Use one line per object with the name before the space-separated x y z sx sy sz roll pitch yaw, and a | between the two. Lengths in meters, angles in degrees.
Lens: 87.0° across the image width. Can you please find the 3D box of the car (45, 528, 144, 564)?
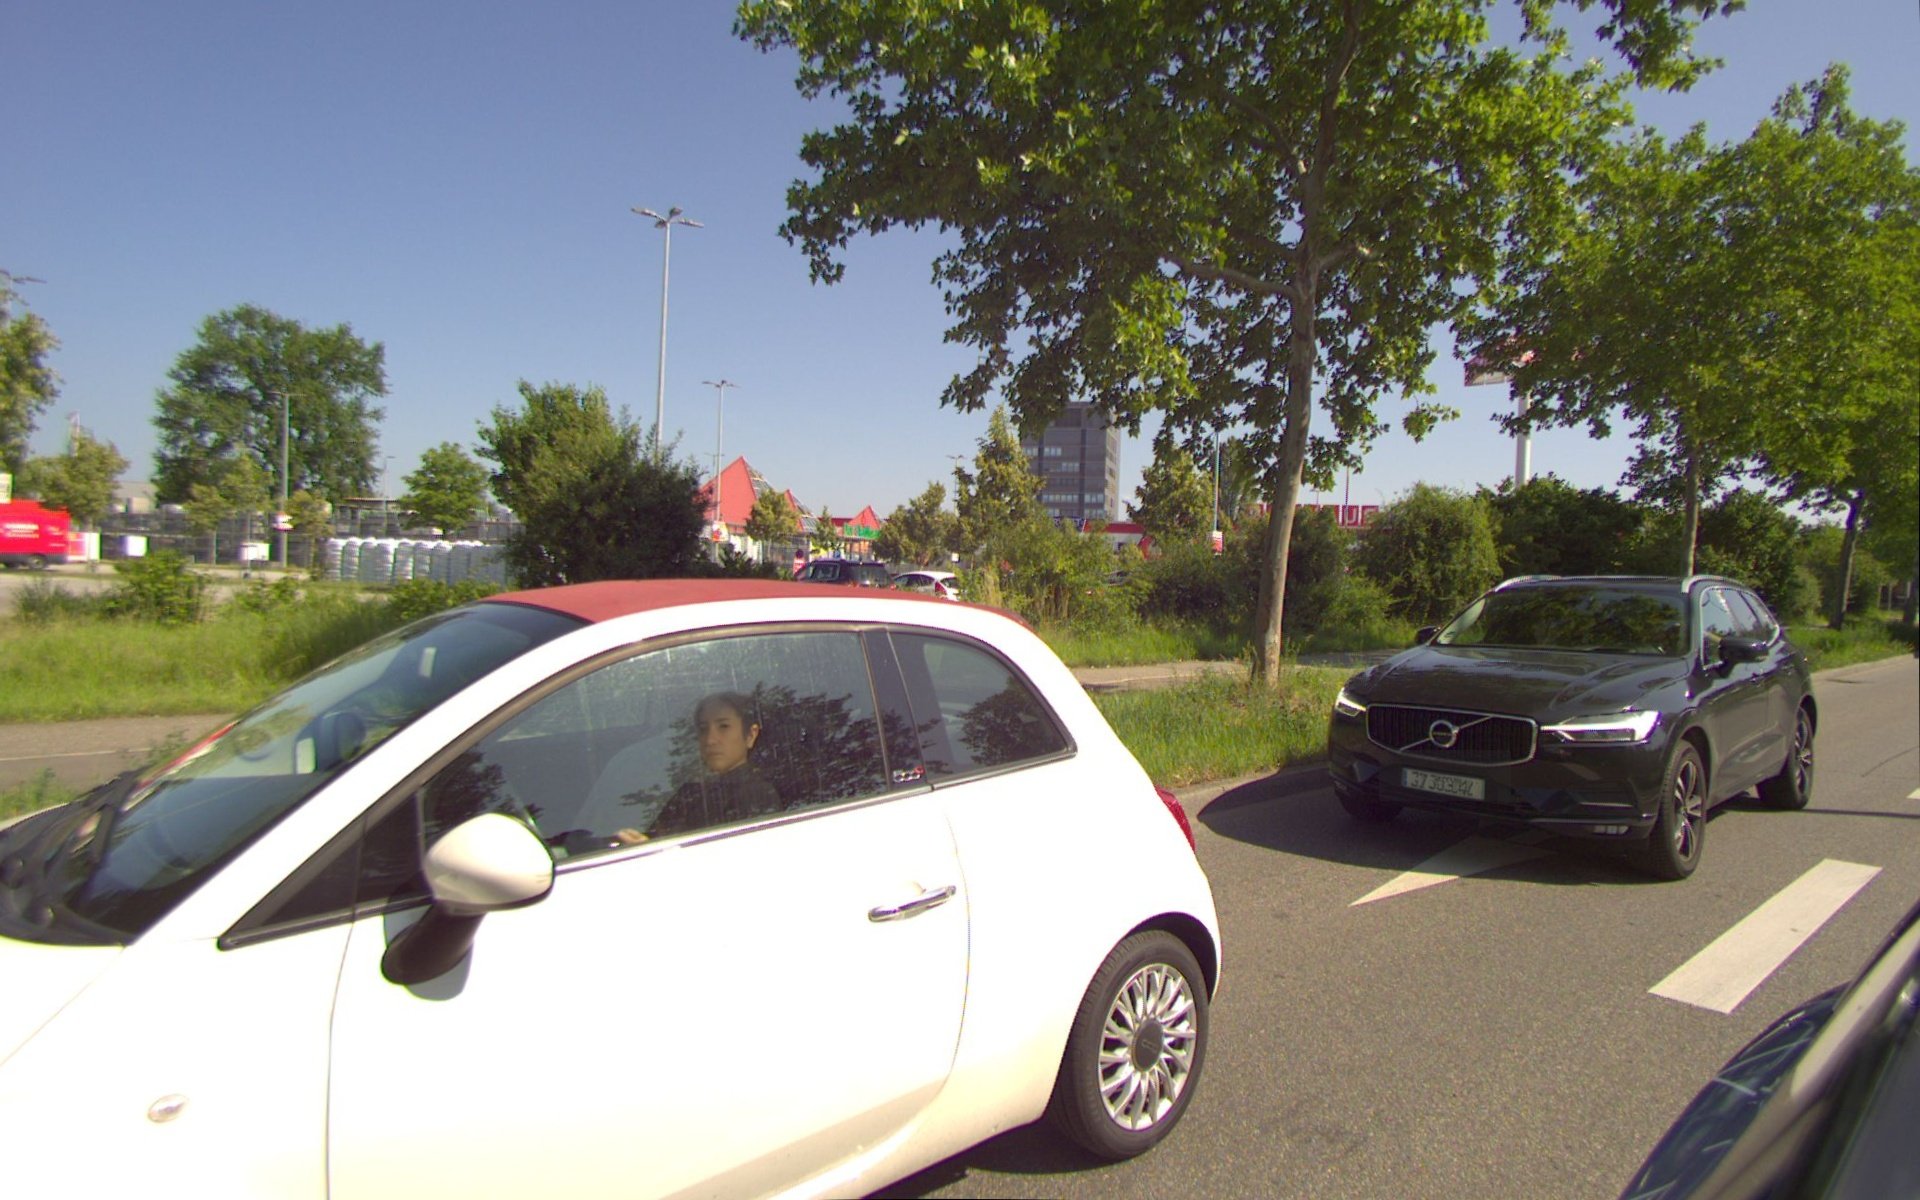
car | -53.403 -3.293 62.563 1.971 2.039 4.370 0 1 15

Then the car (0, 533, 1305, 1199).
car | -0.872 0.627 2.483 3.456 1.454 1.665 0 1 -39

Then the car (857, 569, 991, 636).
car | -1.020 0.025 27.588 3.549 1.717 1.692 1 1 45

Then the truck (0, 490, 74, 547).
truck | -58.268 -4.949 60.593 1.971 3.289 8.190 0 1 15

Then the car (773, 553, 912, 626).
car | -3.033 -0.295 25.695 3.549 1.717 1.692 1 1 45

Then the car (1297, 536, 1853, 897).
car | 4.342 0.497 6.815 4.485 1.642 1.923 -1 1 -41

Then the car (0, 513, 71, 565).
car | -45.654 -2.890 47.367 2.087 2.370 5.903 1 1 18
